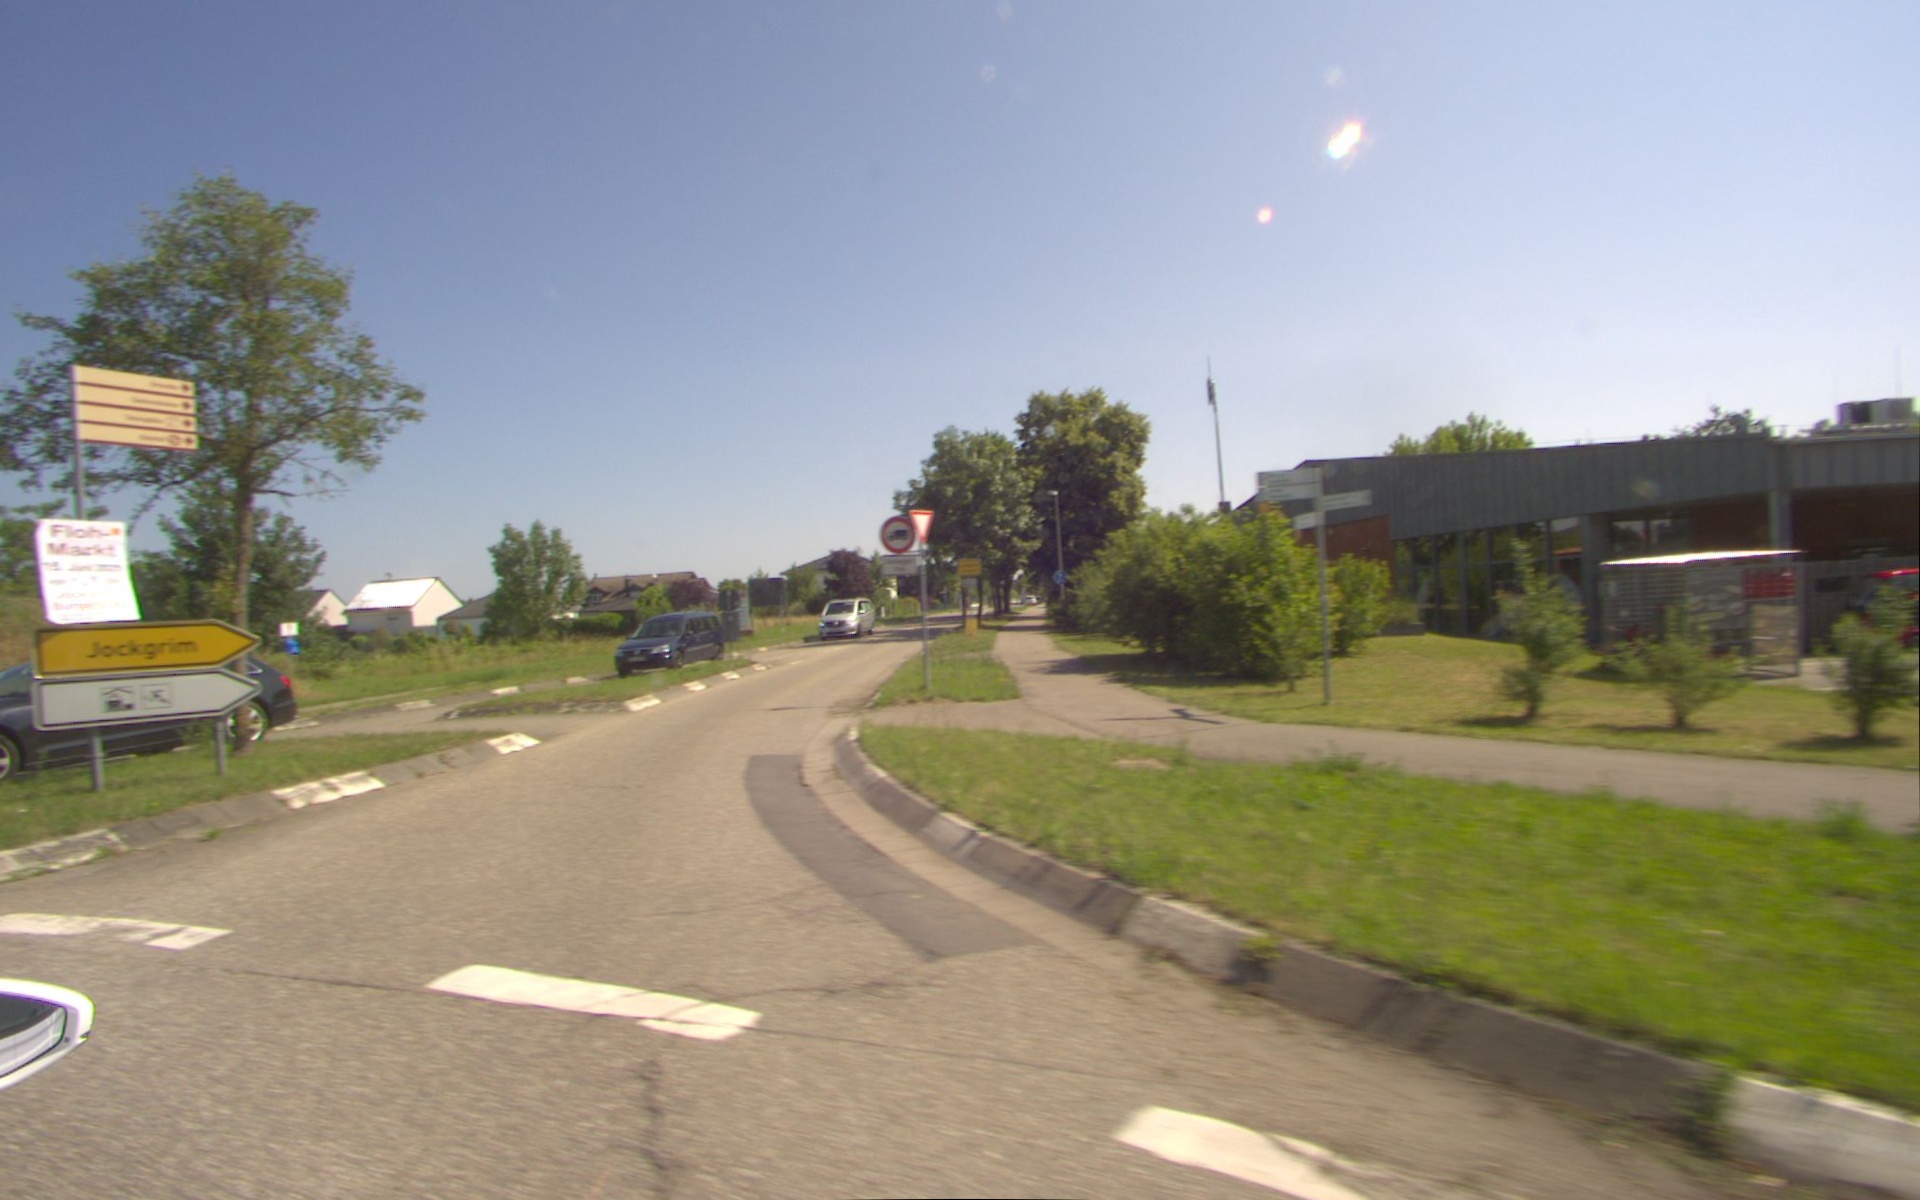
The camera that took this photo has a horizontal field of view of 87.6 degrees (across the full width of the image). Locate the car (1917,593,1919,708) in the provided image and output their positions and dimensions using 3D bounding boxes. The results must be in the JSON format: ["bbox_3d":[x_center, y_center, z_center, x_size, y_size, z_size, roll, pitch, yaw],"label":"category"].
[{"bbox_3d":[14.056,0.594,11.895,3.698,1.465,1.726,-1,0,1],"label":"car"}]

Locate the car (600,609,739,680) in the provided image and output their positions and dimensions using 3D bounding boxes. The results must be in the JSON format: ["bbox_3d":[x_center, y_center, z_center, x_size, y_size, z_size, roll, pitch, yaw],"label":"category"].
[{"bbox_3d":[-8.028,1.173,28.200,1.782,1.661,4.653,-6,-1,10],"label":"car"}]

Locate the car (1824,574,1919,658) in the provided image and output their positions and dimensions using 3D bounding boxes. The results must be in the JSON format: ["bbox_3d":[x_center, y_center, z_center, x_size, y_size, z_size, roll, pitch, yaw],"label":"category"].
[{"bbox_3d":[19.189,0.311,20.605,1.793,1.657,1.131,-2,0,-1],"label":"car"}]

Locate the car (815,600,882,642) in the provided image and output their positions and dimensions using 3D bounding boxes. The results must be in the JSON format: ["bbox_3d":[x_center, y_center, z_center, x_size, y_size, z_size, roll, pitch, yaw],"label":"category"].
[{"bbox_3d":[-5.356,0.970,48.863,1.962,1.839,5.199,-3,0,7],"label":"car"}]

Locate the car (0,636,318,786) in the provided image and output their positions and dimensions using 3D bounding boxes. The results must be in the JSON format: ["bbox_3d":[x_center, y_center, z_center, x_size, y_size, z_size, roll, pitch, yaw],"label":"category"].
[{"bbox_3d":[-10.808,1.338,12.278,1.889,1.452,4.907,-6,-1,14],"label":"car"}]
